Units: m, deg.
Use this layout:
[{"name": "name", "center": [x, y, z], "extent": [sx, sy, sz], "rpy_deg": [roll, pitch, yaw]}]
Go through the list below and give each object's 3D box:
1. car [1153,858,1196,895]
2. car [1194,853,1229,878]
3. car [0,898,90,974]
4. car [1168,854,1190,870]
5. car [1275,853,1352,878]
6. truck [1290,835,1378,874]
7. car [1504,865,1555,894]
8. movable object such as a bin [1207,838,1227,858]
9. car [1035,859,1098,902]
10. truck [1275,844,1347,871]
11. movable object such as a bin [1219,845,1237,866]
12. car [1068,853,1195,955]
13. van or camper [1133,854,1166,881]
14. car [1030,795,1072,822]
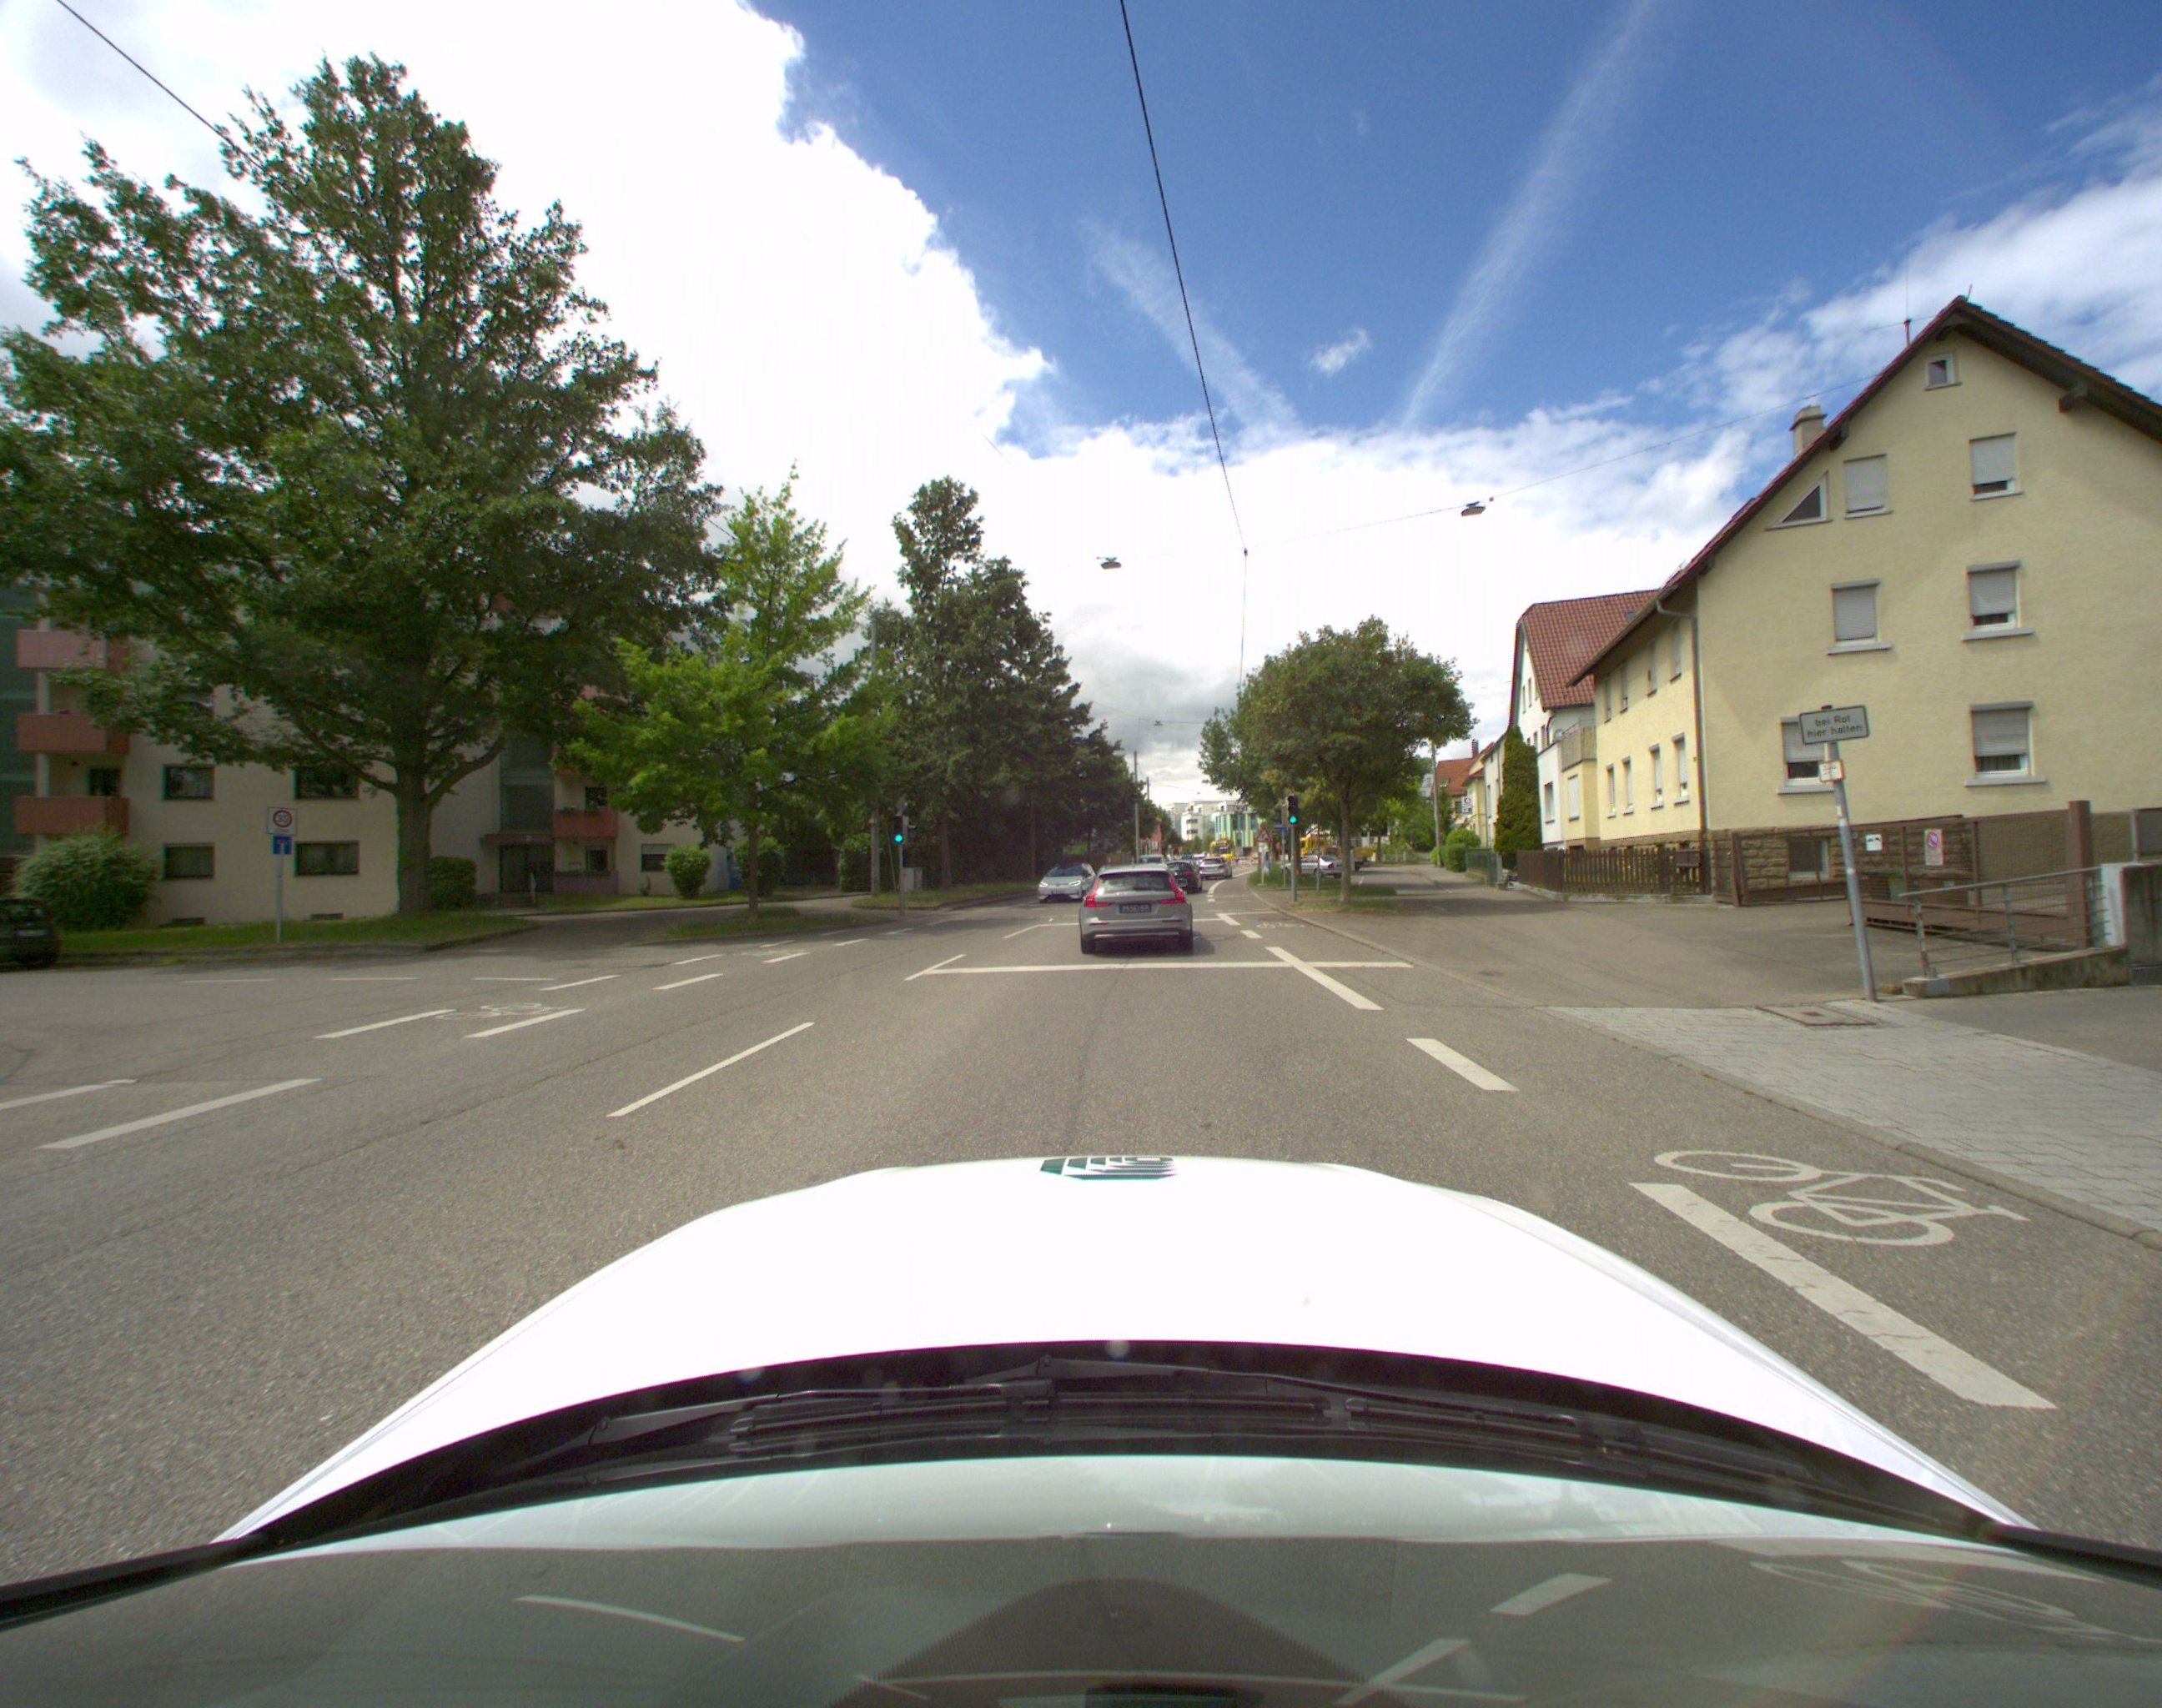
[{"name": "car", "center": [4.051, 0.964, 35.767], "extent": [1.654, 1.508, 3.705], "rpy_deg": [1, -1, 3]}, {"name": "car", "center": [8.530, 0.754, 52.940], "extent": [2.088, 1.510, 4.012], "rpy_deg": [1, -1, 11]}, {"name": "car", "center": [-23.217, 1.707, 16.297], "extent": [3.996, 1.452, 1.686], "rpy_deg": [-2, -1, -17]}, {"name": "car", "center": [10.670, 0.849, 88.101], "extent": [1.867, 1.687, 4.261], "rpy_deg": [-3, -1, 12]}, {"name": "car", "center": [14.376, 0.685, 50.608], "extent": [1.774, 1.452, 4.643], "rpy_deg": [-1, 0, -31]}, {"name": "truck", "center": [20.669, 0.107, 66.864], "extent": [2.780, 3.008, 6.637], "rpy_deg": [2, -1, -33]}, {"name": "car", "center": [18.369, 1.030, 33.445], "extent": [1.449, 1.125, 3.892], "rpy_deg": [0, -1, 23]}, {"name": "movable object such as a bin", "center": [21.480, -0.954, 128.852], "extent": [2.300, 2.990, 6.434], "rpy_deg": [-2, 0, 4]}, {"name": "car", "center": [-0.528, 1.053, 33.099], "extent": [1.888, 1.580, 4.009], "rpy_deg": [-3, -2, 8]}, {"name": "truck", "center": [18.371, 0.291, 65.276], "extent": [2.007, 2.014, 5.619], "rpy_deg": [2, -1, -33]}, {"name": "movable object such as a bin", "center": [19.098, 0.208, 105.381], "extent": [2.021, 2.643, 5.959], "rpy_deg": [-2, 0, 12]}, {"name": "car", "center": [0.978, 0.813, 14.620], "extent": [1.918, 1.540, 4.006], "rpy_deg": [-2, -1, 5]}, {"name": "van or camper", "center": [4.934, 0.948, 58.447], "extent": [1.849, 1.776, 4.393], "rpy_deg": [-2, 0, 11]}, {"name": "car", "center": [-1.834, -2.849, 51.244], "extent": [1.817, 1.330, 4.011], "rpy_deg": [1, -2, 10]}]
